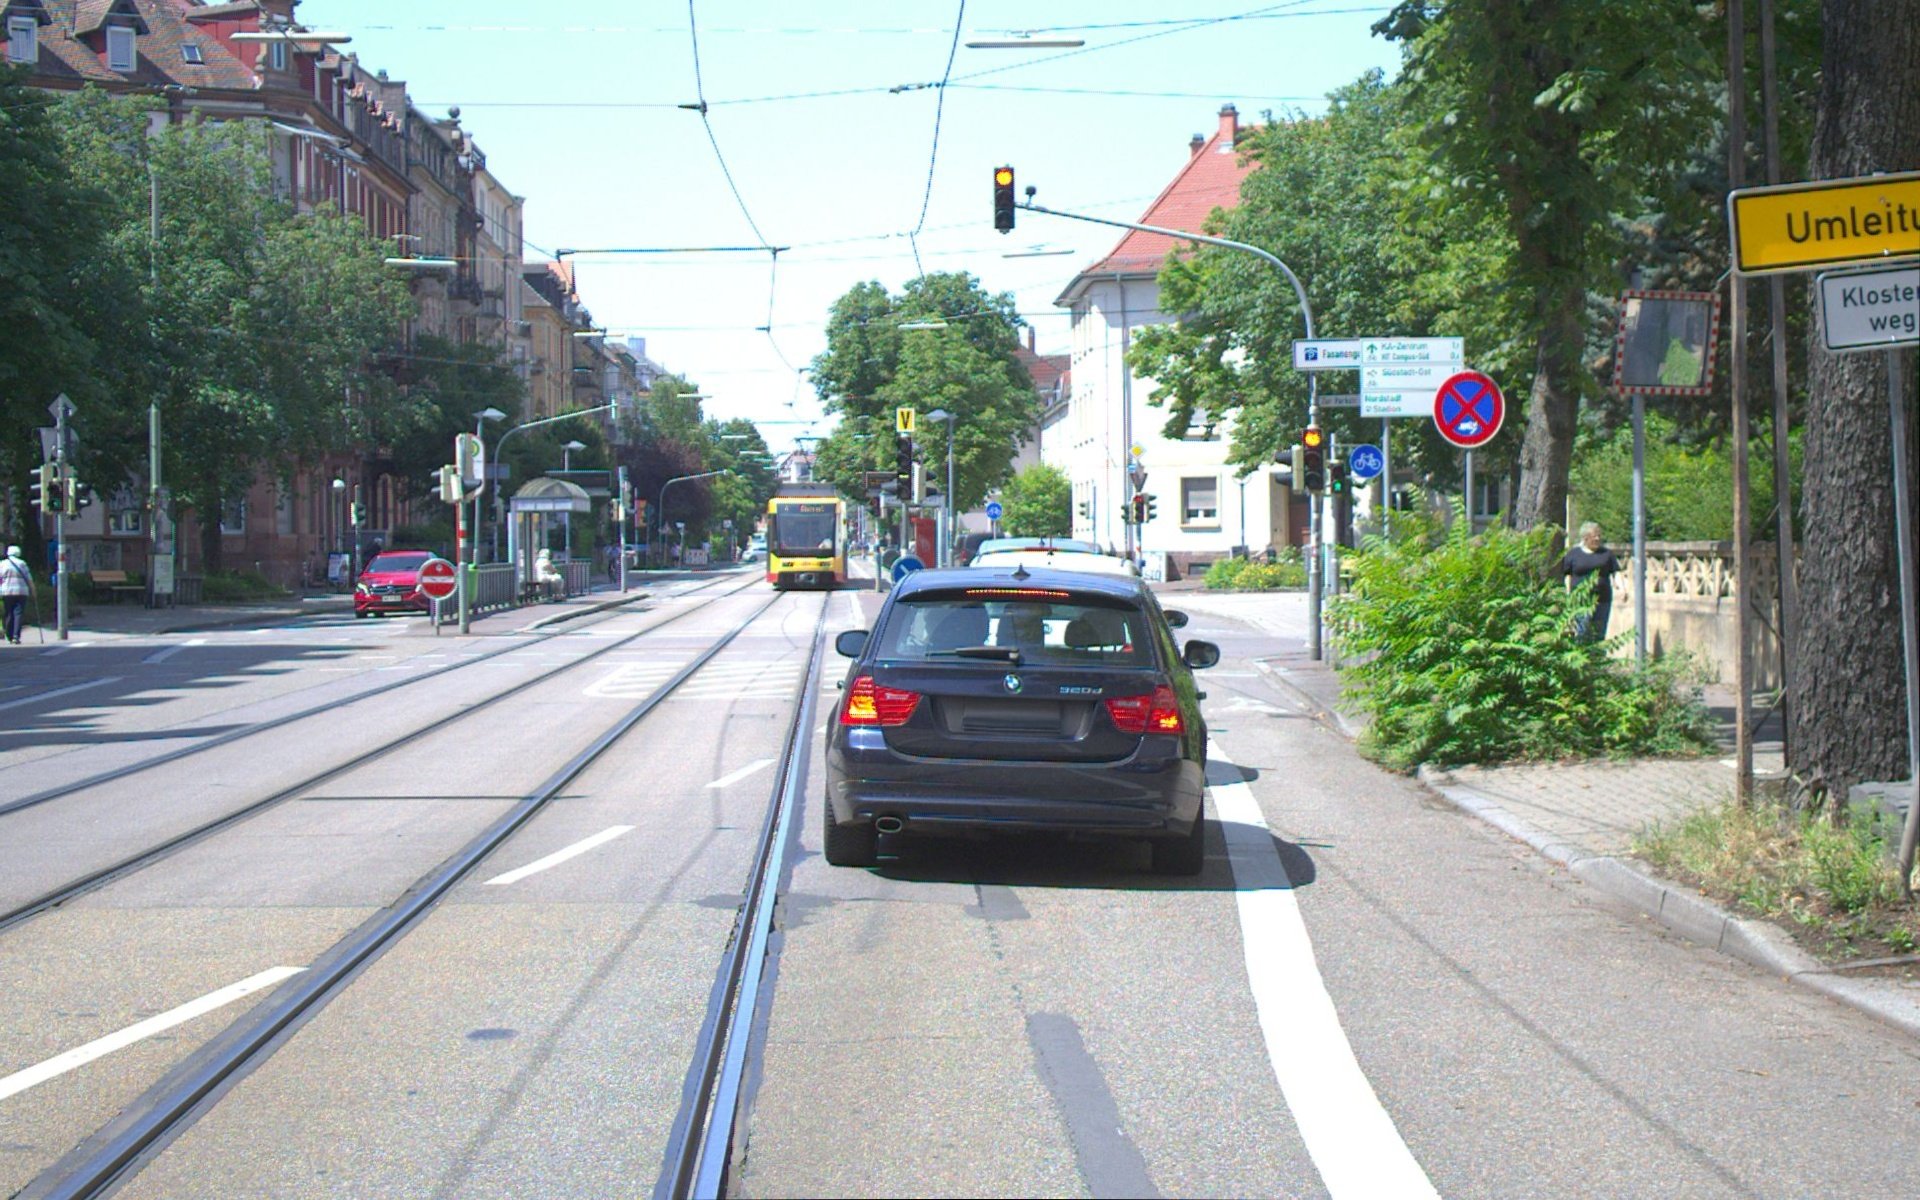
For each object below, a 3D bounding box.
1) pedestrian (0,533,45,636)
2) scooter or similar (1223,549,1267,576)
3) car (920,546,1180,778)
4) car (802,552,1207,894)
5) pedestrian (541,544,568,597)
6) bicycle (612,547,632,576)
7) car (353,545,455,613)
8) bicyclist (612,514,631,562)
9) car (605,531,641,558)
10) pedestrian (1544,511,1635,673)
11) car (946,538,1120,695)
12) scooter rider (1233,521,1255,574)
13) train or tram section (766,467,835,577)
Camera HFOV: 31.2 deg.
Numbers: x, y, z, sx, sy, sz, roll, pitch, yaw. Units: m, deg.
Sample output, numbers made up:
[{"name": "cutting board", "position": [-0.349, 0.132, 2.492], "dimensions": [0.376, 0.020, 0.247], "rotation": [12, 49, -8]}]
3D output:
[{"name": "pedestrian", "position": [-15.836, -0.263, 57.480], "dimensions": [0.916, 1.717, 0.840], "rotation": [-1, 1, -22]}, {"name": "scooter or similar", "position": [9.083, -1.201, 109.705], "dimensions": [1.311, 0.834, 0.527], "rotation": [0, 1, -7]}, {"name": "car", "position": [0.596, 0.378, 24.245], "dimensions": [1.685, 1.479, 3.685], "rotation": [0, 1, 0]}, {"name": "car", "position": [0.251, 0.504, 17.267], "dimensions": [1.722, 1.404, 4.565], "rotation": [2, 1, 1]}, {"name": "pedestrian", "position": [-9.550, -0.699, 81.013], "dimensions": [0.613, 1.238, 0.628], "rotation": [0, 1, -7]}, {"name": "bicycle", "position": [-13.154, -1.506, 133.869], "dimensions": [0.728, 1.098, 1.716], "rotation": [0, 1, -4]}, {"name": "car", "position": [-12.371, -0.493, 76.688], "dimensions": [1.822, 1.408, 4.430], "rotation": [-2, 1, -4]}, {"name": "bicyclist", "position": [-13.174, -2.406, 133.785], "dimensions": [0.722, 1.864, 0.825], "rotation": [-1, 1, -6]}, {"name": "car", "position": [-20.161, -3.326, 205.389], "dimensions": [1.787, 1.580, 4.001], "rotation": [1, 1, -10]}, {"name": "pedestrian", "position": [6.500, -0.089, 35.550], "dimensions": [0.857, 1.640, 0.836], "rotation": [-1, 1, 7]}, {"name": "car", "position": [0.775, 0.127, 36.017], "dimensions": [1.691, 1.508, 3.821], "rotation": [1, 1, 1]}, {"name": "scooter rider", "position": [9.068, -1.666, 109.714], "dimensions": [0.590, 1.681, 0.528], "rotation": [-1, 1, -7]}, {"name": "train or tram section", "position": [-5.247, -2.584, 113.904], "dimensions": [2.190, 3.470, 8.846], "rotation": [-1, 1, -2]}]
